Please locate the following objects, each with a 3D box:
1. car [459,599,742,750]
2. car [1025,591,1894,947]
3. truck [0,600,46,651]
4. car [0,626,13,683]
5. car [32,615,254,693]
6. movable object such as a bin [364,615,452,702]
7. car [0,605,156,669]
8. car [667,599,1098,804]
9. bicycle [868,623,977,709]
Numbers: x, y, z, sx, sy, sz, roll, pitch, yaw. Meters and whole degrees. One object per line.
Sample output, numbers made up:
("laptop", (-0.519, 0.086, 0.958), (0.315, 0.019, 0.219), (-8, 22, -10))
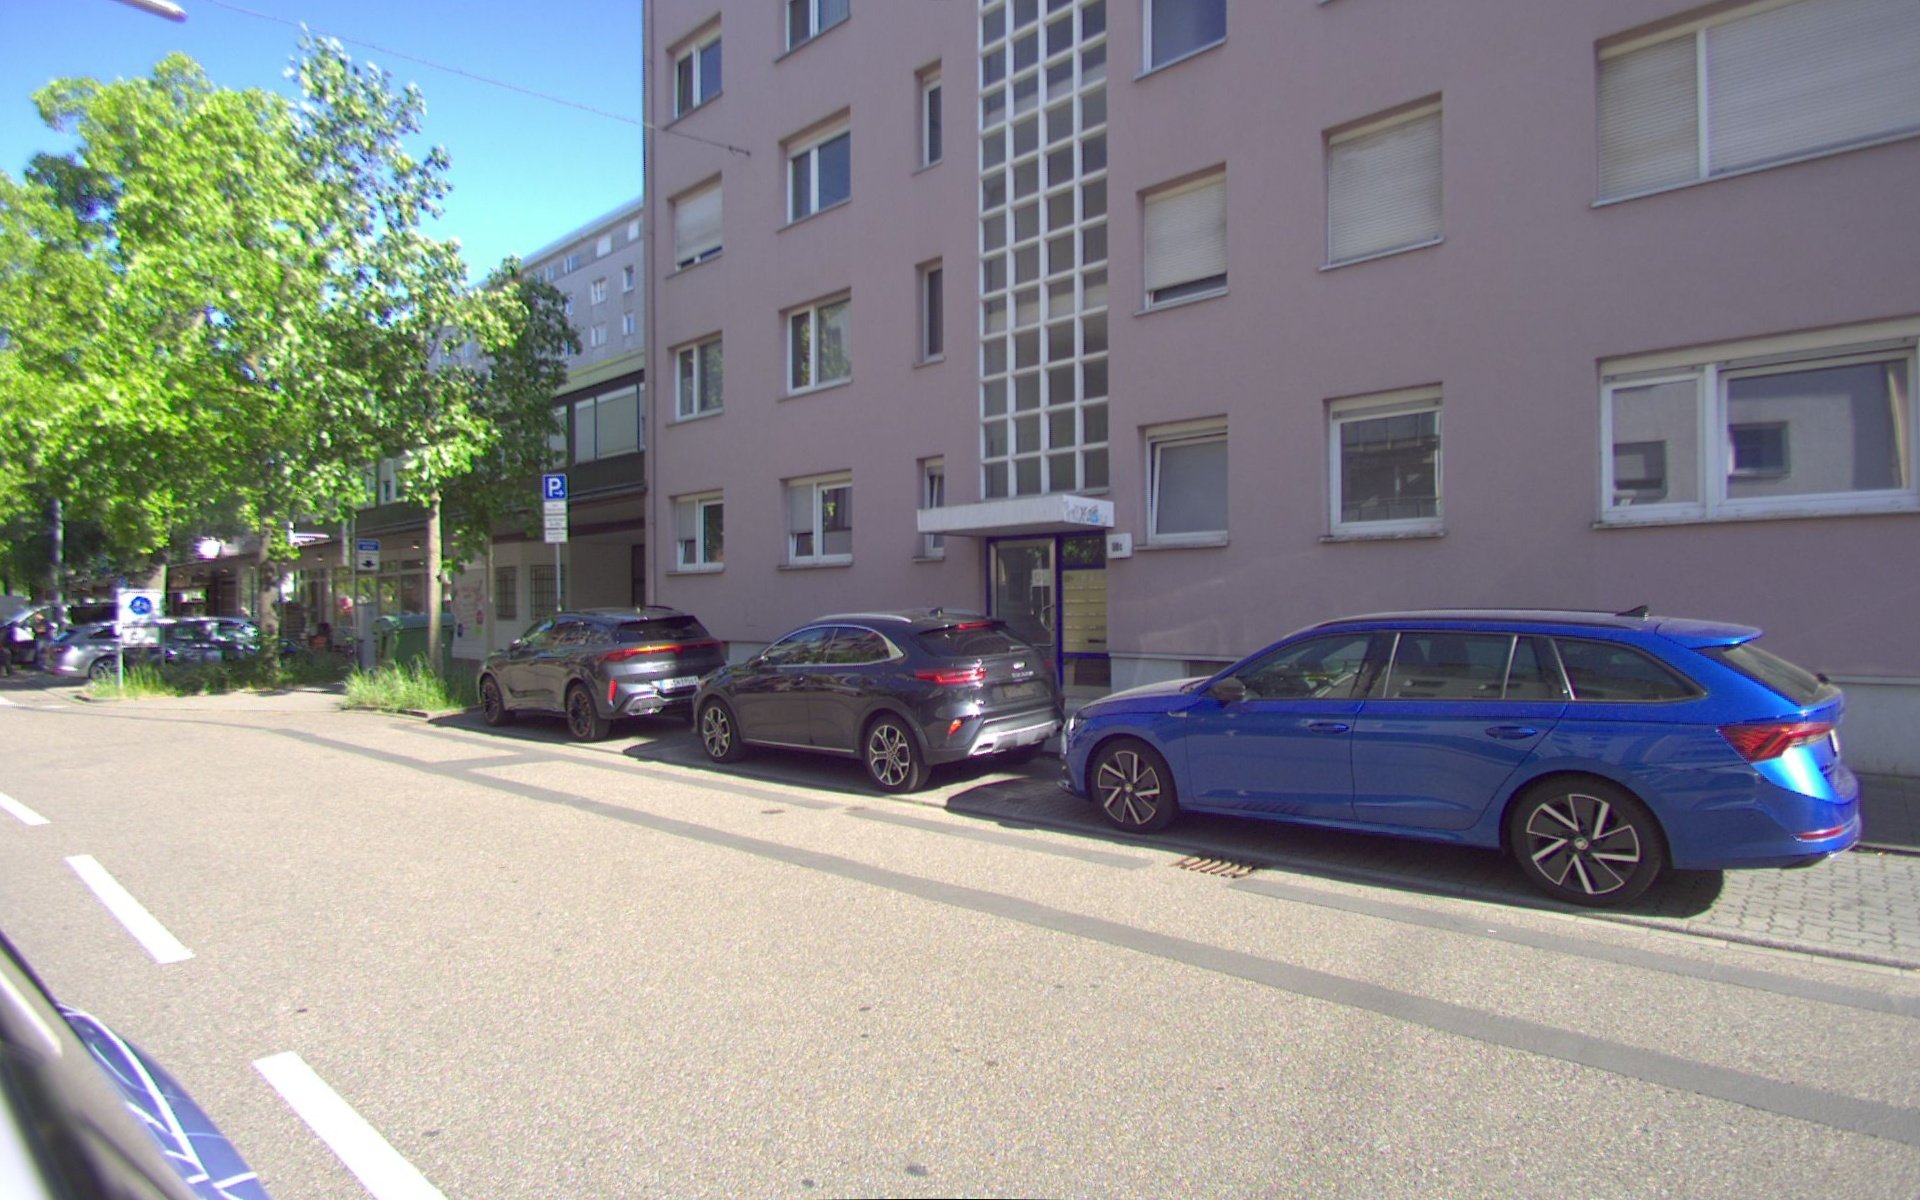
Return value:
("car", (-4.902, 0.880, 13.504), (4.141, 1.604, 1.798), (-1, 2, 43))
("car", (2.770, 0.755, 6.466), (4.611, 1.477, 1.699), (-1, 0, 42))
("truck", (-50.489, 1.312, 51.754), (1.993, 2.615, 5.265), (-1, -1, 31))
("car", (-26.842, 1.446, 27.175), (4.001, 1.475, 1.842), (-2, -1, 44))
("car", (-19.701, 1.237, 24.511), (1.999, 1.687, 3.944), (-1, -1, 42))
("movable object such as a bin", (-10.364, 1.060, 19.008), (1.229, 1.557, 1.020), (0, -1, -44))
("car", (-29.906, 1.197, 34.285), (1.999, 2.047, 3.944), (-1, -1, 42))
("car", (-0.928, 0.820, 9.920), (4.246, 1.519, 1.797), (-1, 1, 43))
("bicycle", (-0.533, 0.876, 13.834), (1.650, 1.084, 0.386), (-1, 3, 43))
